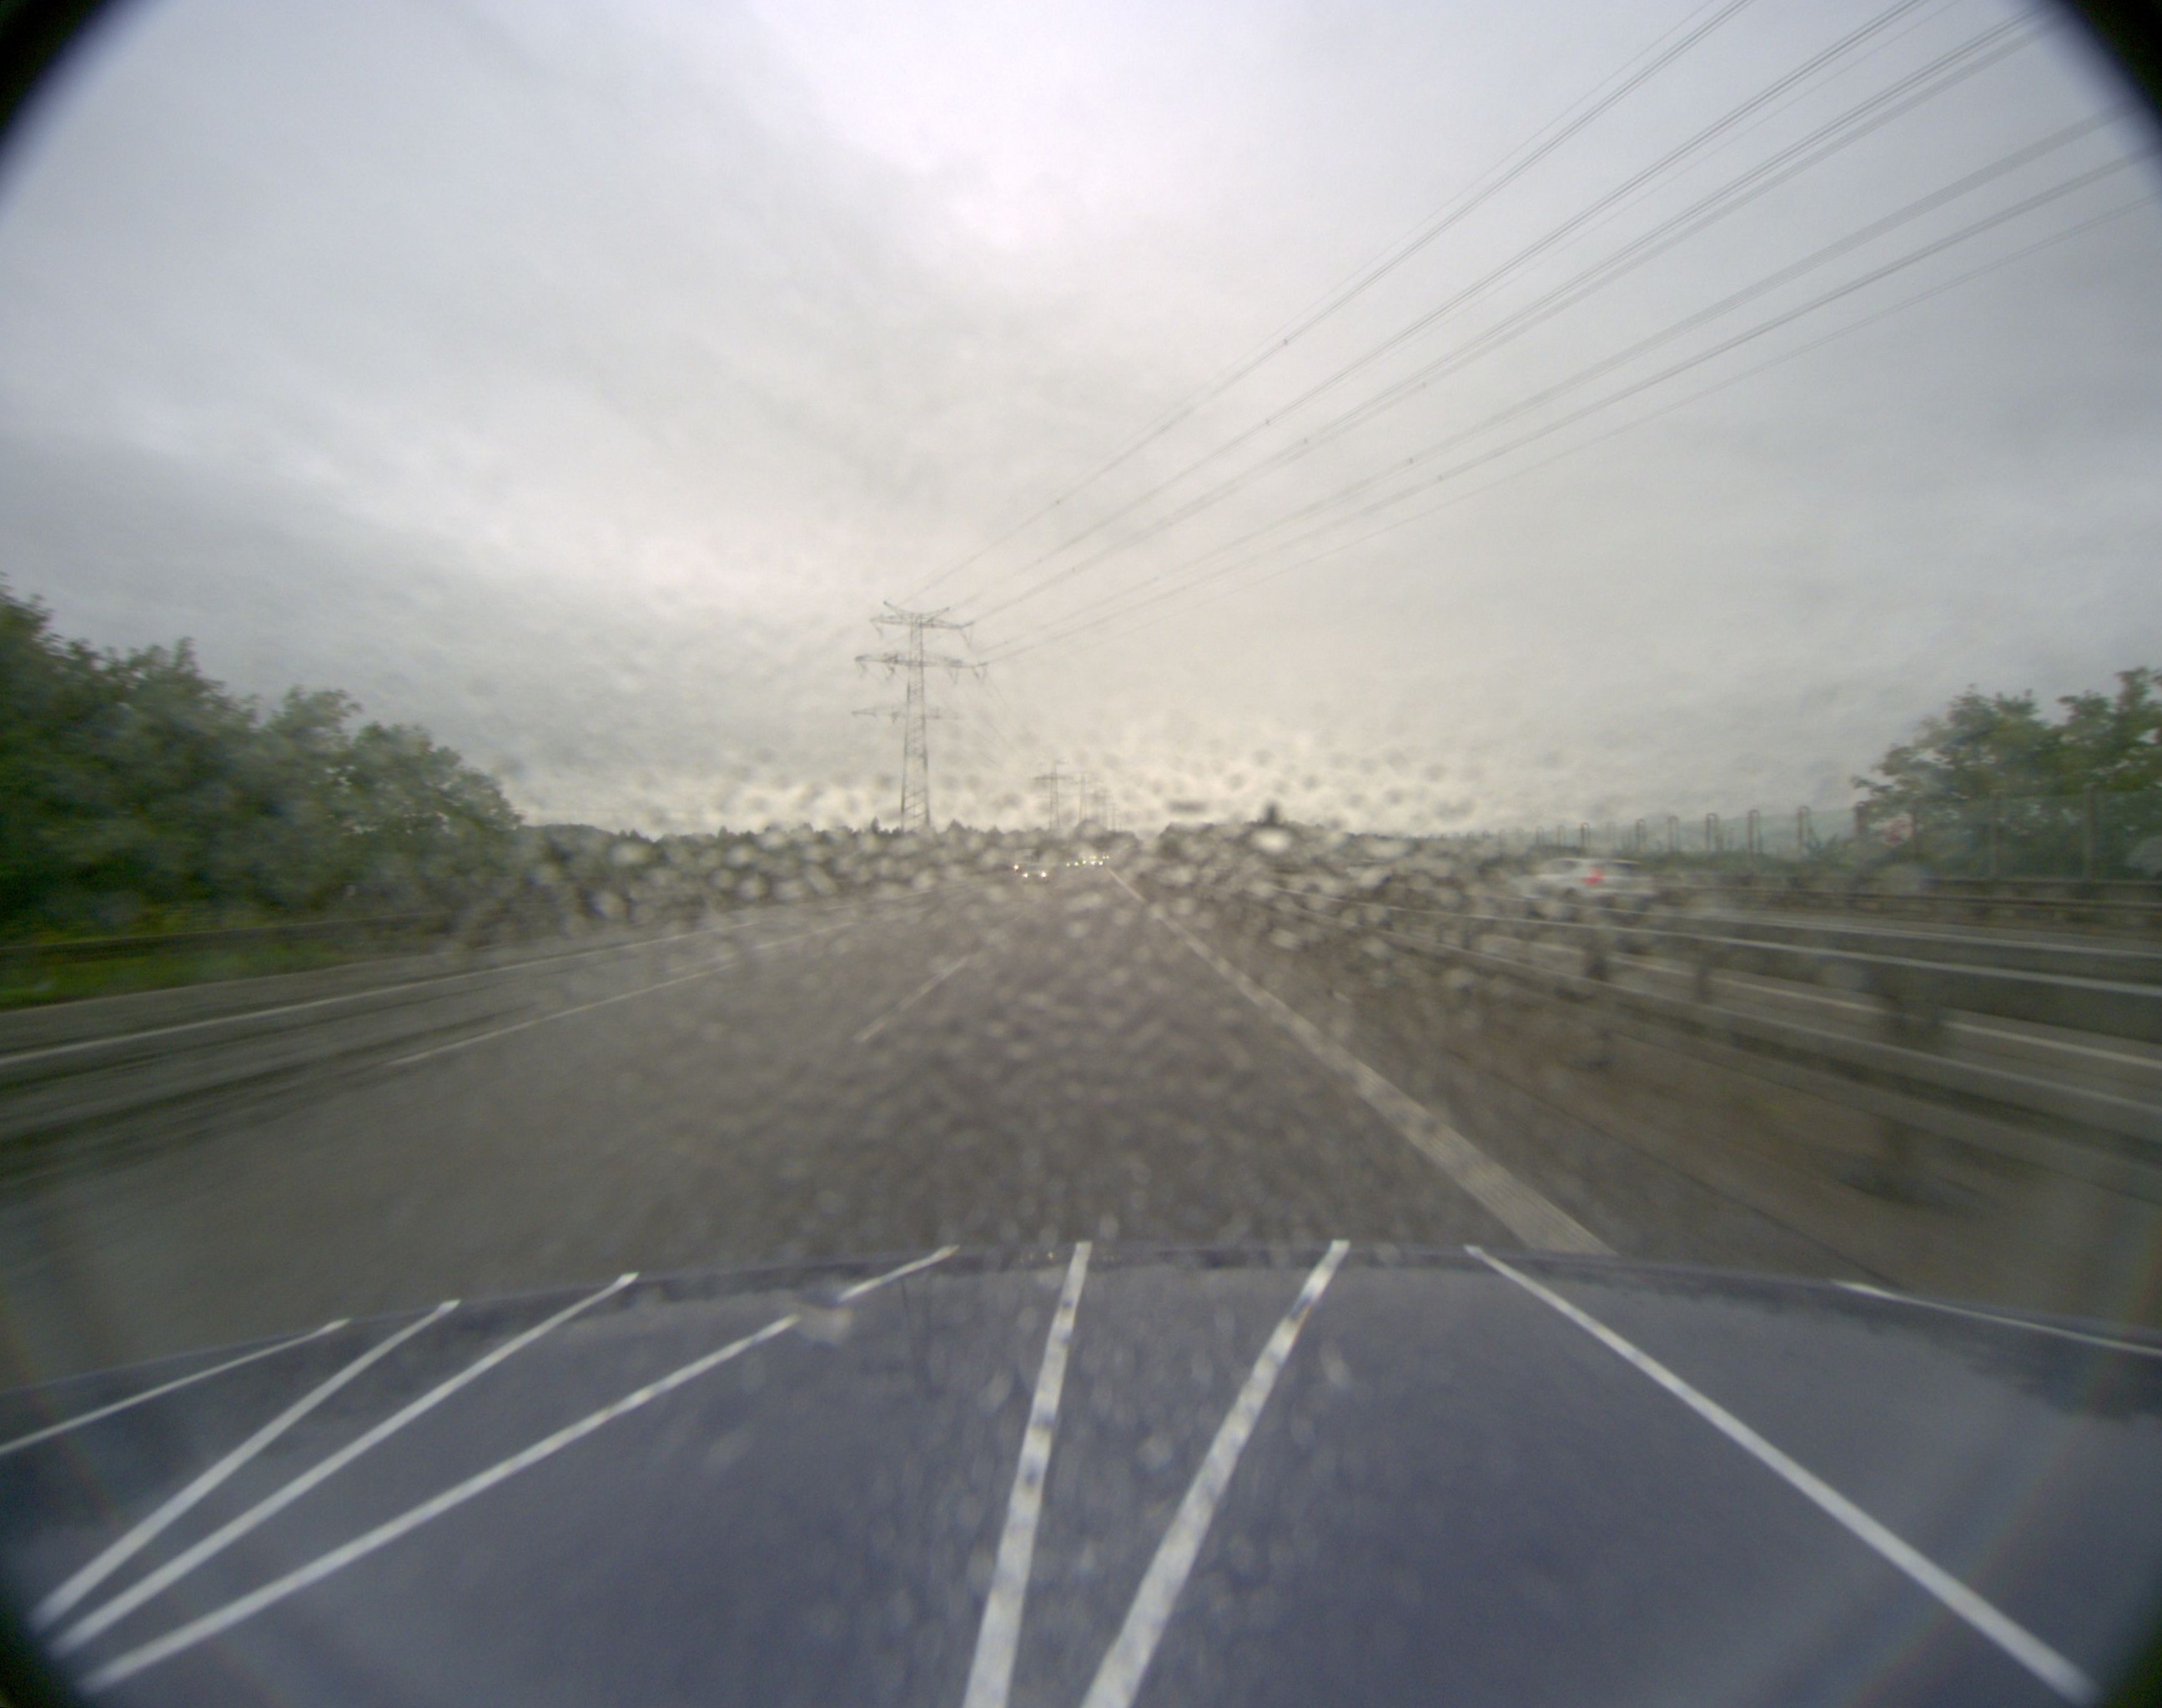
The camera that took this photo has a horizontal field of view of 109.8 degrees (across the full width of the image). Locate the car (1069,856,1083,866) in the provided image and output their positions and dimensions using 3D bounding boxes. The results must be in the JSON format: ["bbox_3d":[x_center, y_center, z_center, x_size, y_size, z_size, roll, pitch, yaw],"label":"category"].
[{"bbox_3d":[-0.720,1.136,119.666,1.998,1.418,4.000,-2,1,3],"label":"car"}]

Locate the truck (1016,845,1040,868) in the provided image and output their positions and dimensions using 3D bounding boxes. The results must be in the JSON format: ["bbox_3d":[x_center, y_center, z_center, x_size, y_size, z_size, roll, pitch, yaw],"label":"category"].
[{"bbox_3d":[-7.993,0.330,114.784,2.649,3.325,6.931,-2,1,3],"label":"truck"}]

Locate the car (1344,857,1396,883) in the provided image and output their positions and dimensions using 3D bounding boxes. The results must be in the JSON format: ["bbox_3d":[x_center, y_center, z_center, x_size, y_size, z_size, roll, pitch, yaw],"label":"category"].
[{"bbox_3d":[21.040,1.114,55.516,1.954,1.808,4.916,0,0,0],"label":"car"}]

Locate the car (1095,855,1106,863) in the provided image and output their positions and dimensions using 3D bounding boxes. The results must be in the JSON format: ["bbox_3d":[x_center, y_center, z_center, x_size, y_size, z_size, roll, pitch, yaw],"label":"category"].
[{"bbox_3d":[3.705,0.895,145.048,1.998,1.418,4.000,-2,1,3],"label":"car"}]

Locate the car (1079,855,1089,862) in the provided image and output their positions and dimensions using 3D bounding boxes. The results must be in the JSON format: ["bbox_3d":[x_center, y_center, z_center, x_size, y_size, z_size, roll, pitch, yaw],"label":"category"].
[{"bbox_3d":[0.725,0.862,162.307,1.856,1.418,4.000,-2,1,3],"label":"car"}]

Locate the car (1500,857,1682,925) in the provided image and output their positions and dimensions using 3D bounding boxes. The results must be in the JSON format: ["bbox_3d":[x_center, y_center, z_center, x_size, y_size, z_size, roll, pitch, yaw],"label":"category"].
[{"bbox_3d":[13.779,0.908,20.951,1.909,1.655,4.714,0,0,1],"label":"car"}]

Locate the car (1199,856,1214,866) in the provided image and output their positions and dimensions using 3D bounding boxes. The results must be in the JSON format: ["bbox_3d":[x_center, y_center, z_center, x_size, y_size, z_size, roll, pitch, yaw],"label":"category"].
[{"bbox_3d":[19.363,1.121,117.446,1.833,1.490,3.815,0,0,1],"label":"car"}]

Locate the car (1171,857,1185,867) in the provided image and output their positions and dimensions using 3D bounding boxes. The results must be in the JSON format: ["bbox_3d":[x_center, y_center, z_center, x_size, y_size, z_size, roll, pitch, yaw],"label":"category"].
[{"bbox_3d":[15.948,1.303,125.371,1.820,1.428,4.089,1,0,1],"label":"car"}]

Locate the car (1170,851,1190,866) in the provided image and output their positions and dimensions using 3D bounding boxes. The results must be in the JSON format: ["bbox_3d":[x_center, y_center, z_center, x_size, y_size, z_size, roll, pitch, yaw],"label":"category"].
[{"bbox_3d":[11.109,0.517,85.251,1.833,1.584,3.815,0,0,1],"label":"car"}]

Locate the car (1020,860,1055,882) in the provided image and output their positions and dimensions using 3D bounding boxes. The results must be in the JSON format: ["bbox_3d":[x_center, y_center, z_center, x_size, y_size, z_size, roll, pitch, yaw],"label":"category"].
[{"bbox_3d":[-3.034,1.167,53.762,1.998,1.418,4.000,-2,1,3],"label":"car"}]

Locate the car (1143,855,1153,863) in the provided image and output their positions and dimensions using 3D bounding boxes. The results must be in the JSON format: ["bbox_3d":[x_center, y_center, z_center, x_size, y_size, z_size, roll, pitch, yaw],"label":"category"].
[{"bbox_3d":[13.128,0.933,149.630,1.660,1.428,4.089,1,0,1],"label":"car"}]
